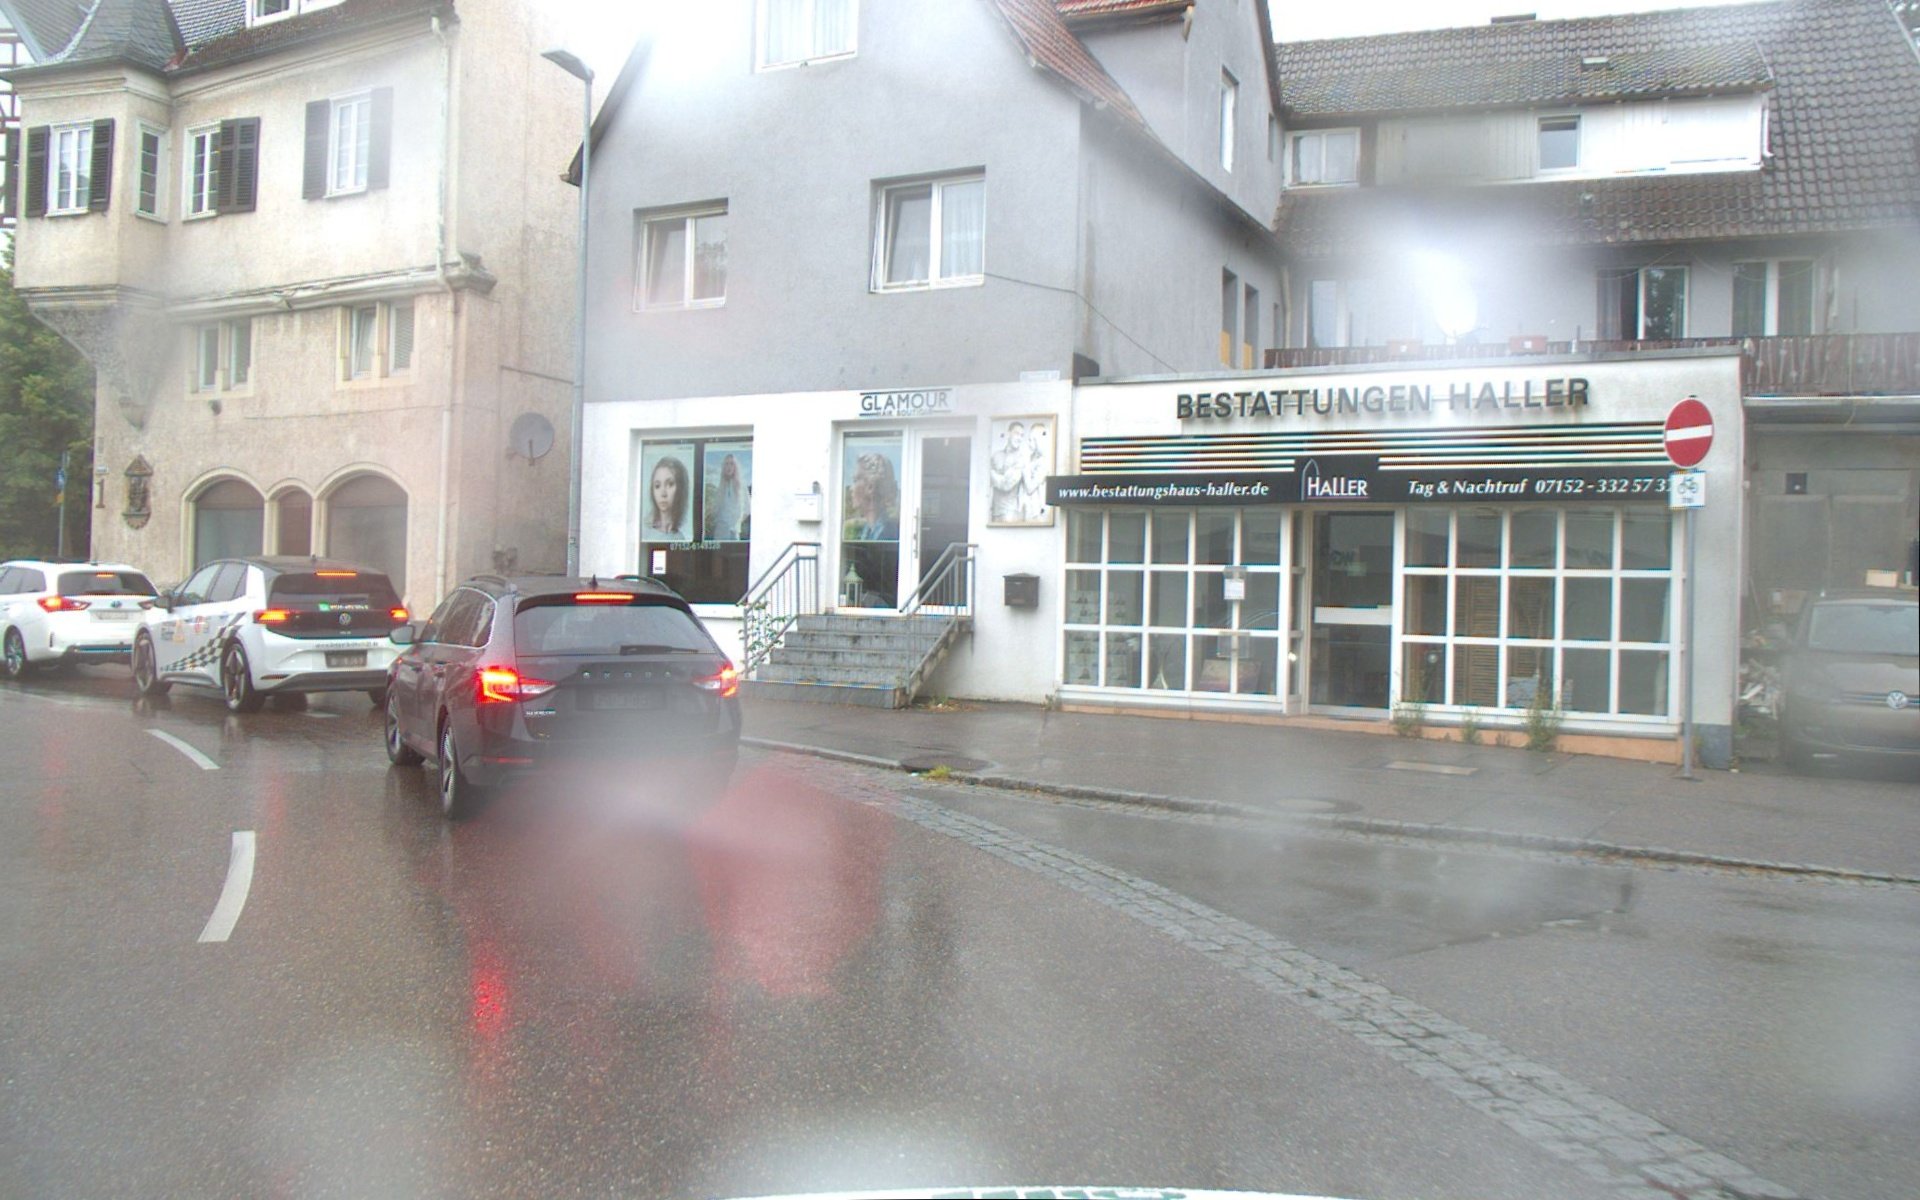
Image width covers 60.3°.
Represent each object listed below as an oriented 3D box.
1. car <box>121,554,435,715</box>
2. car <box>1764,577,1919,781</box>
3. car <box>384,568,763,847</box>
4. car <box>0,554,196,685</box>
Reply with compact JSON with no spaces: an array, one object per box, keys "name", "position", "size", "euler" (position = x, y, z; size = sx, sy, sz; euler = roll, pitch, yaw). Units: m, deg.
[{"name":"car","position":[-7.498,0.287,17.991],"size":[1.781,1.543,4.173],"euler":[-1,2,-44]},{"name":"car","position":[9.463,0.684,17.002],"size":[1.885,1.758,4.667],"euler":[1,2,23]},{"name":"car","position":[-2.846,0.561,11.426],"size":[1.710,1.475,4.208],"euler":[0,2,-25]},{"name":"car","position":[-11.963,0.186,21.932],"size":[4.088,1.490,1.782],"euler":[3,3,40]}]
